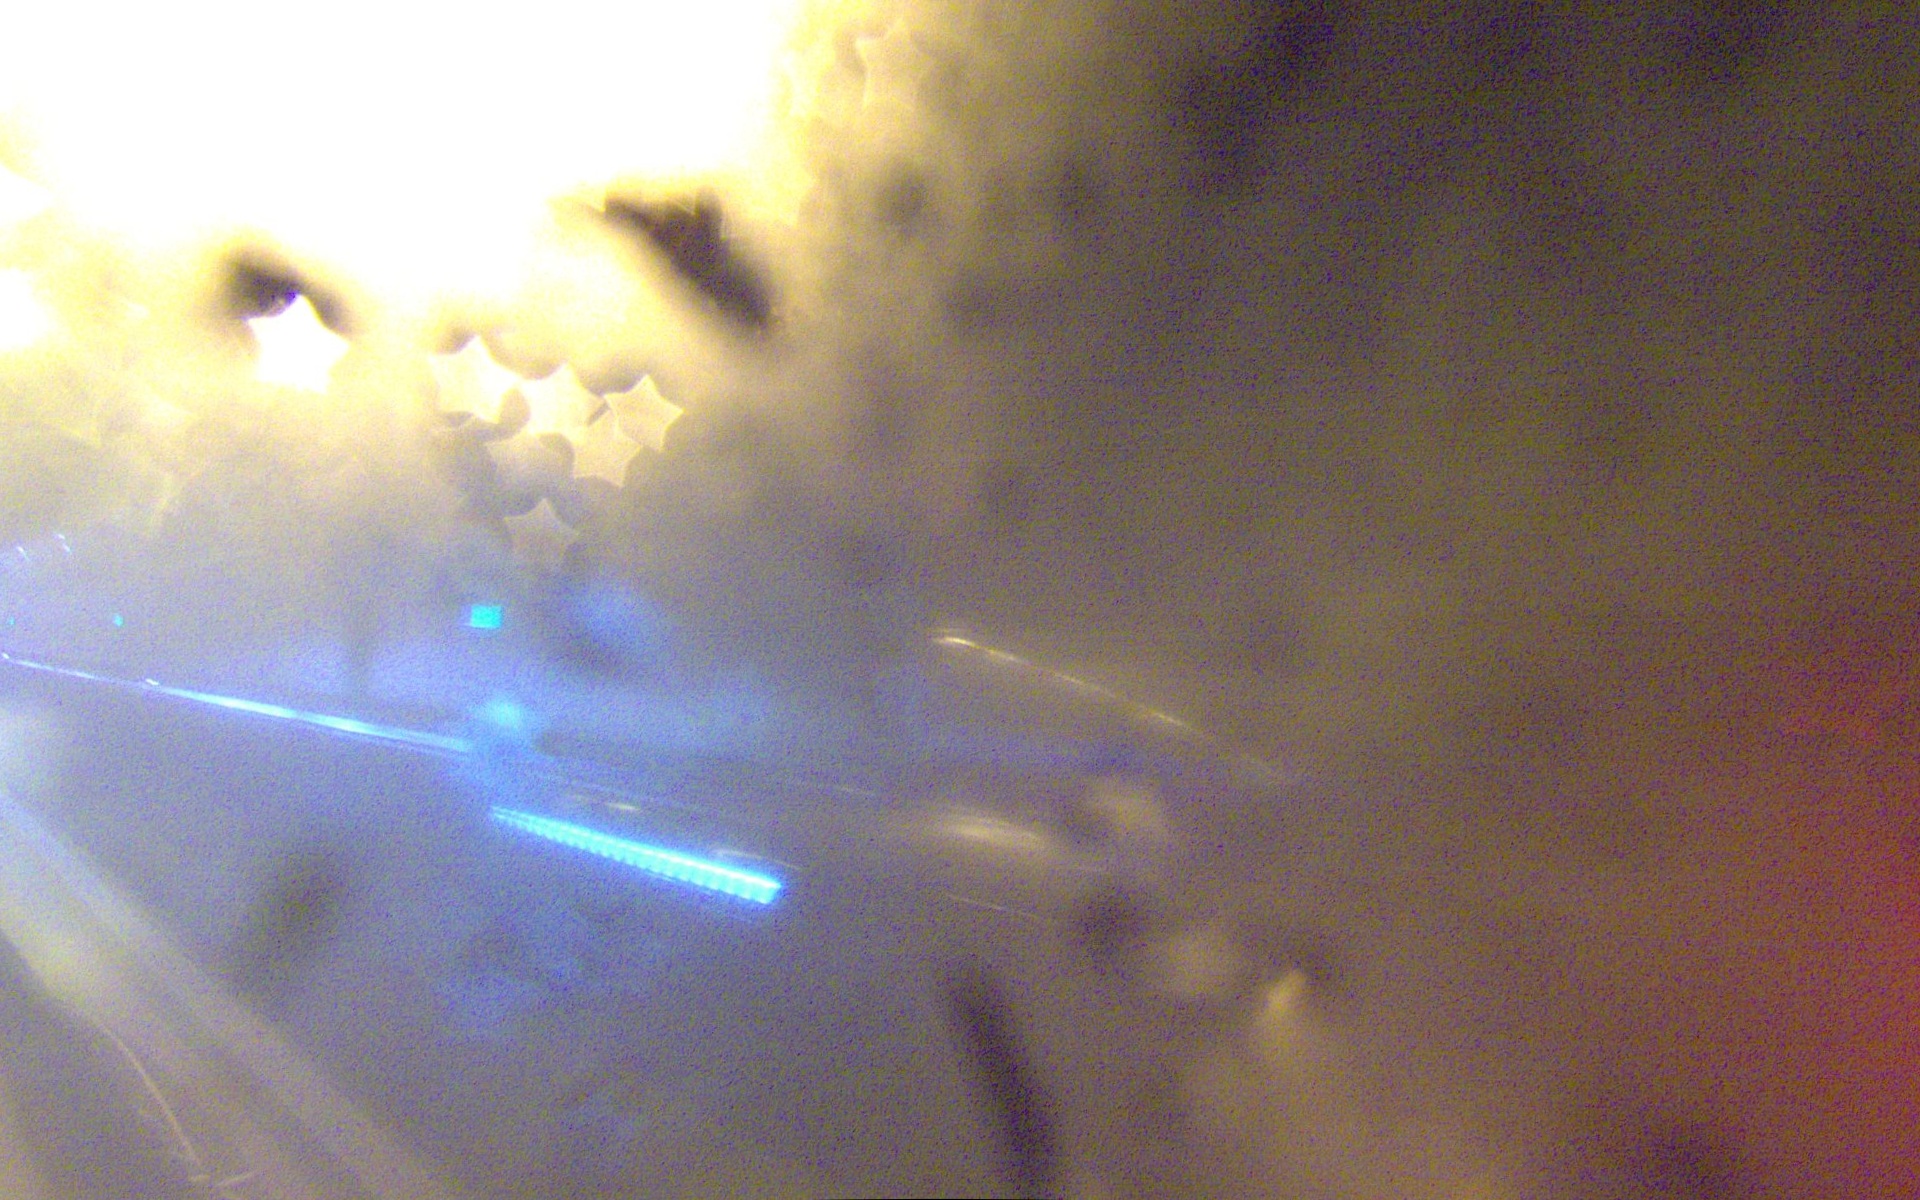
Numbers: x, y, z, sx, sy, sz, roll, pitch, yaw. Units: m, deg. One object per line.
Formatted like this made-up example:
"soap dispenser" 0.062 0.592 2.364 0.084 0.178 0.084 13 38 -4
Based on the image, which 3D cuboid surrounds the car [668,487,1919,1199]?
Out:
"car" 1.333 0.616 2.167 4.292 1.419 1.758 -3 -3 42
